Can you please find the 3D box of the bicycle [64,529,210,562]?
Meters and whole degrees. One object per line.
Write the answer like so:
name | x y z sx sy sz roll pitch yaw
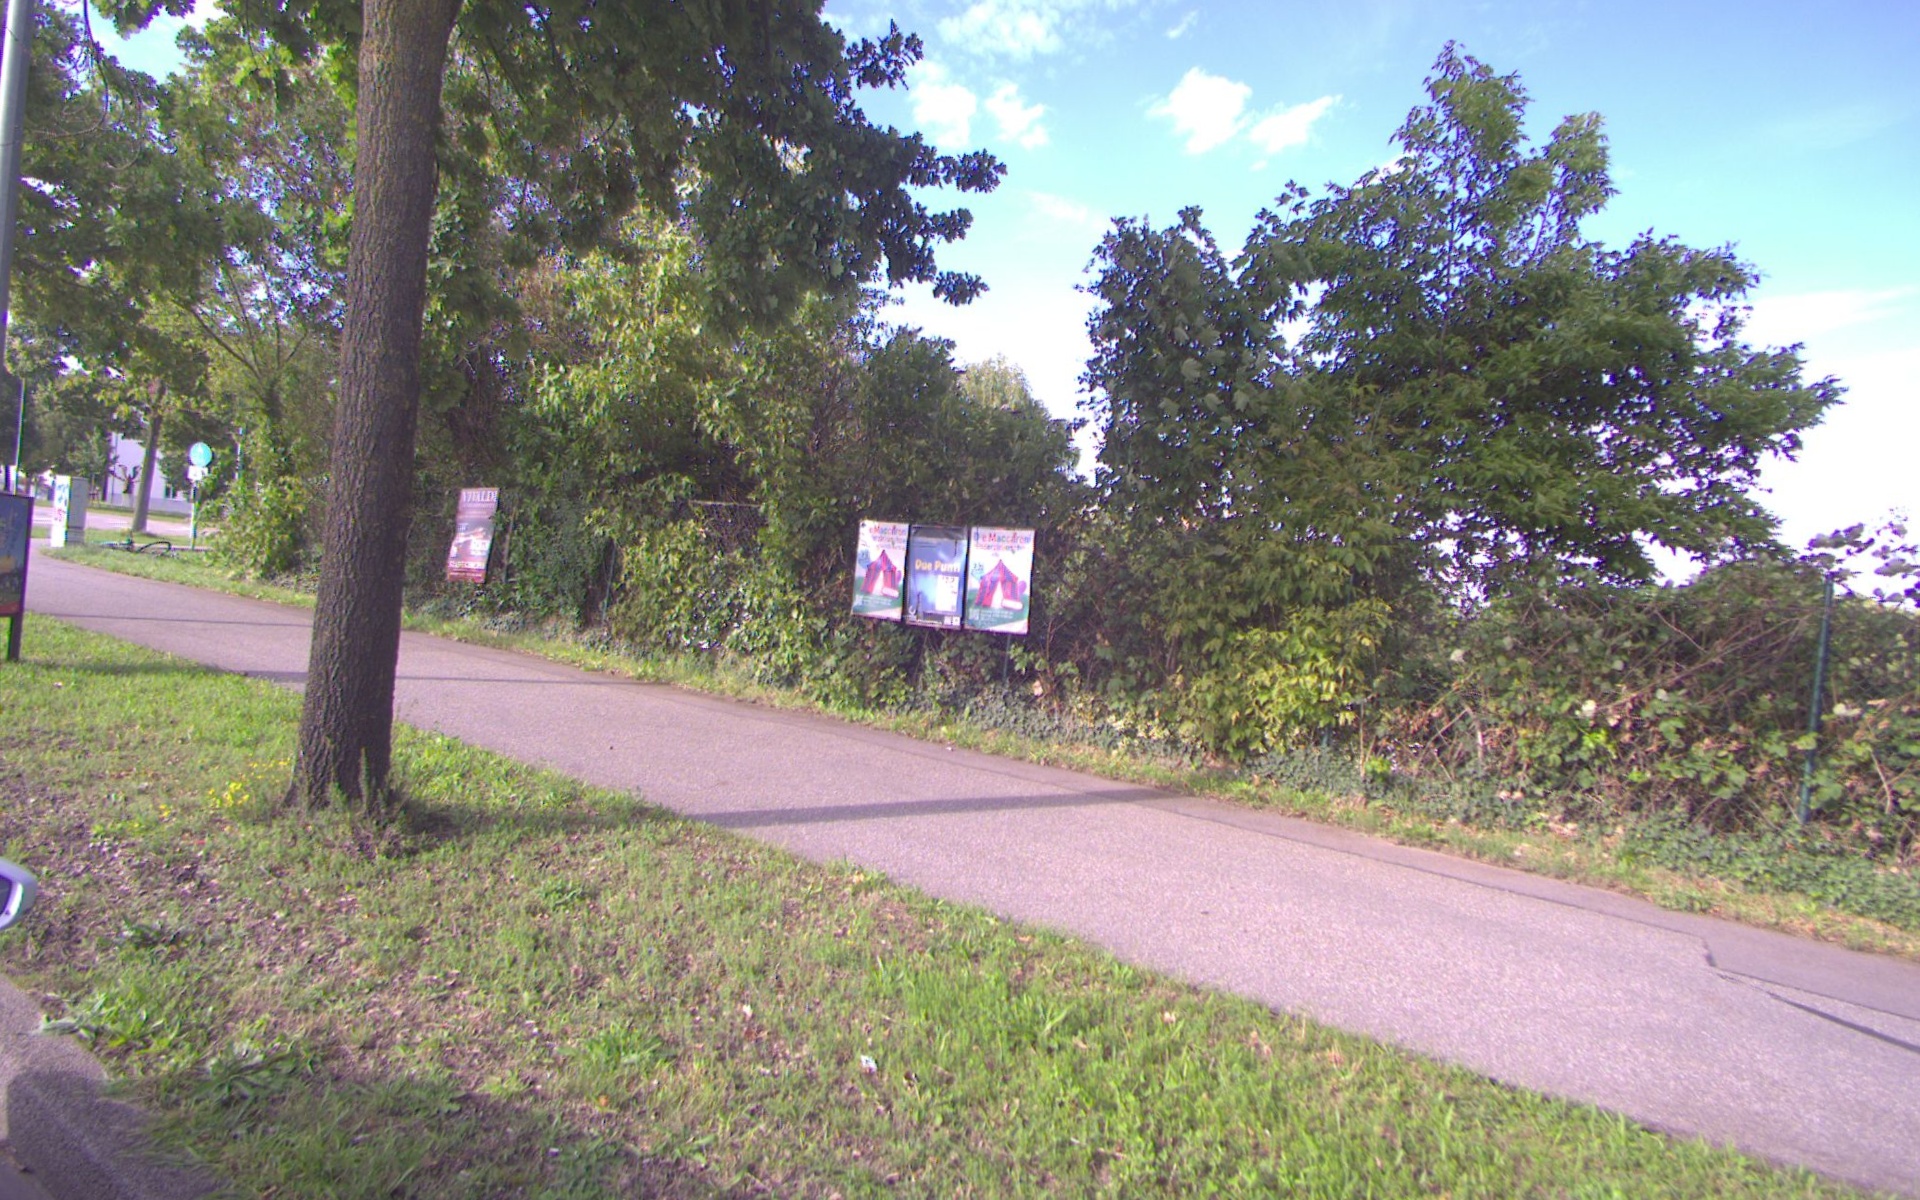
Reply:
bicycle | -18.155 -1.204 22.199 2.529 0.390 1.411 7 0 21
